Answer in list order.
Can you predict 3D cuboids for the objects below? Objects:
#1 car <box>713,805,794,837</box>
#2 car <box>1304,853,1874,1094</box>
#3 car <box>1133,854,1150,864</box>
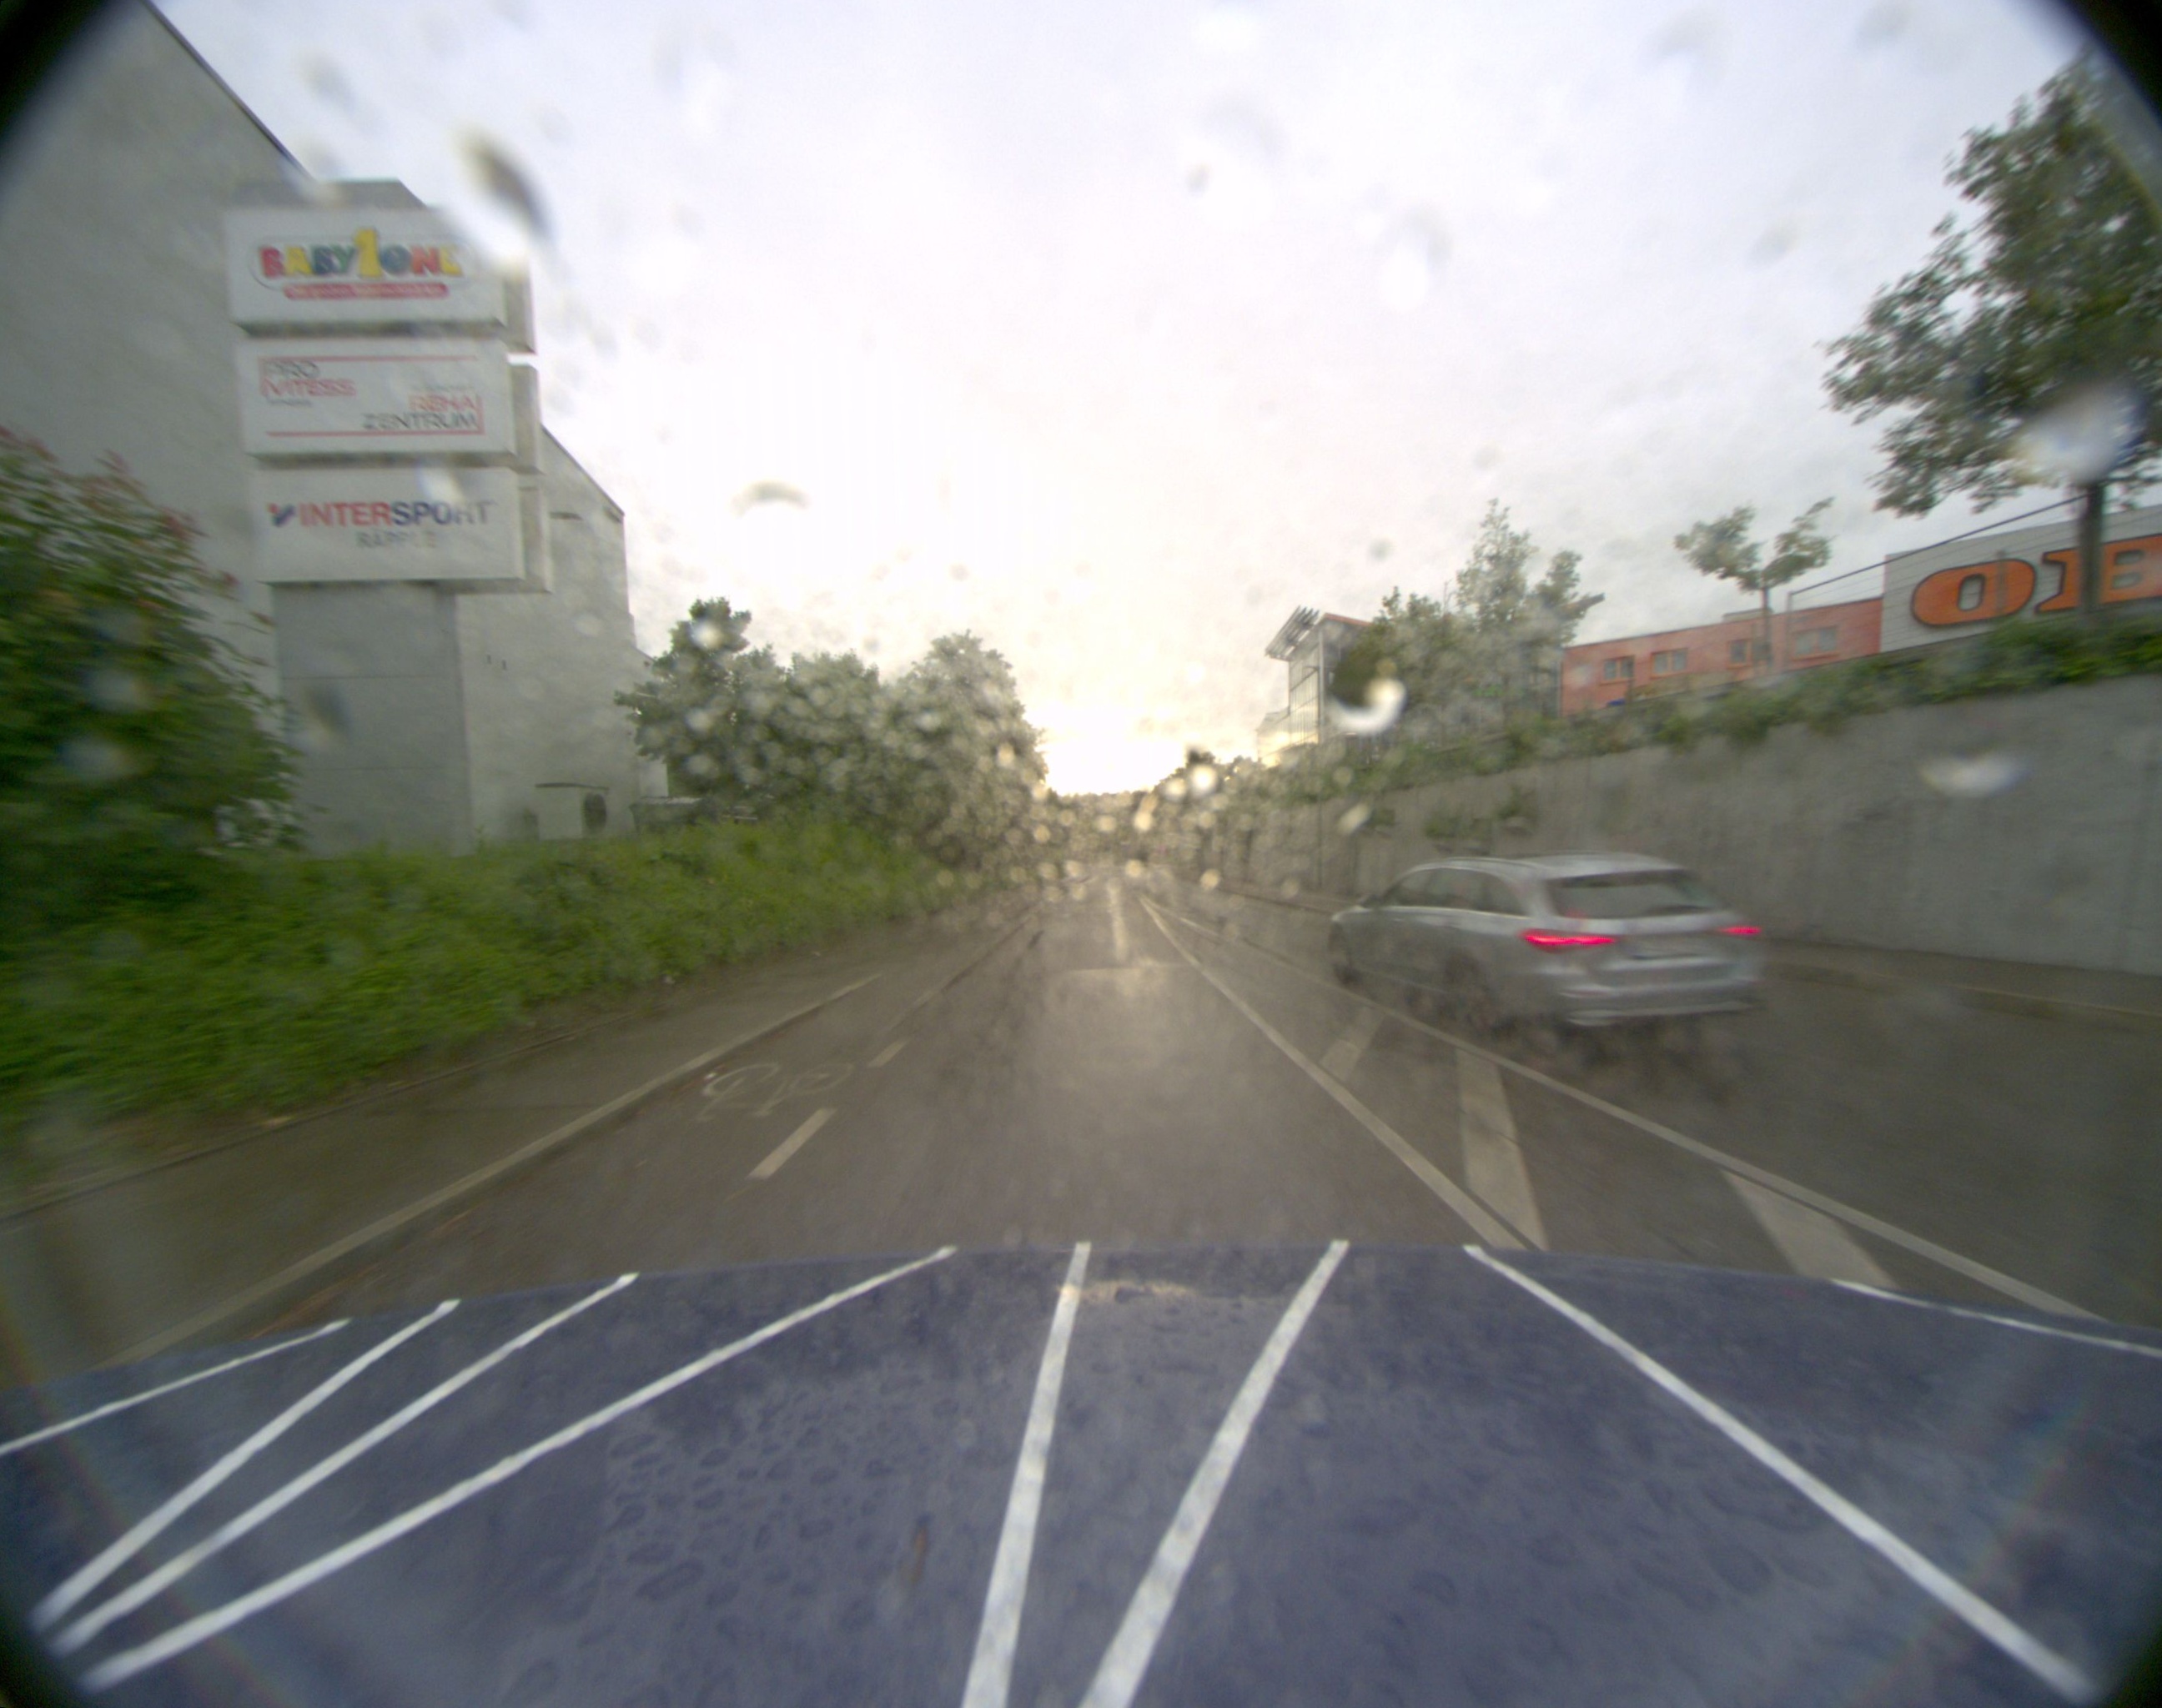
[{"bbox_3d":[-14.557,-1.492,33.915,3.002,1.189,1.486,-4,4,-12],"label":"car"},{"bbox_3d":[3.987,0.771,7.264,2.007,1.418,4.780,-3,0,-3],"label":"car"},{"bbox_3d":[10.594,0.938,133.803,2.000,1.622,3.997,-2,0,-10],"label":"car"}]
